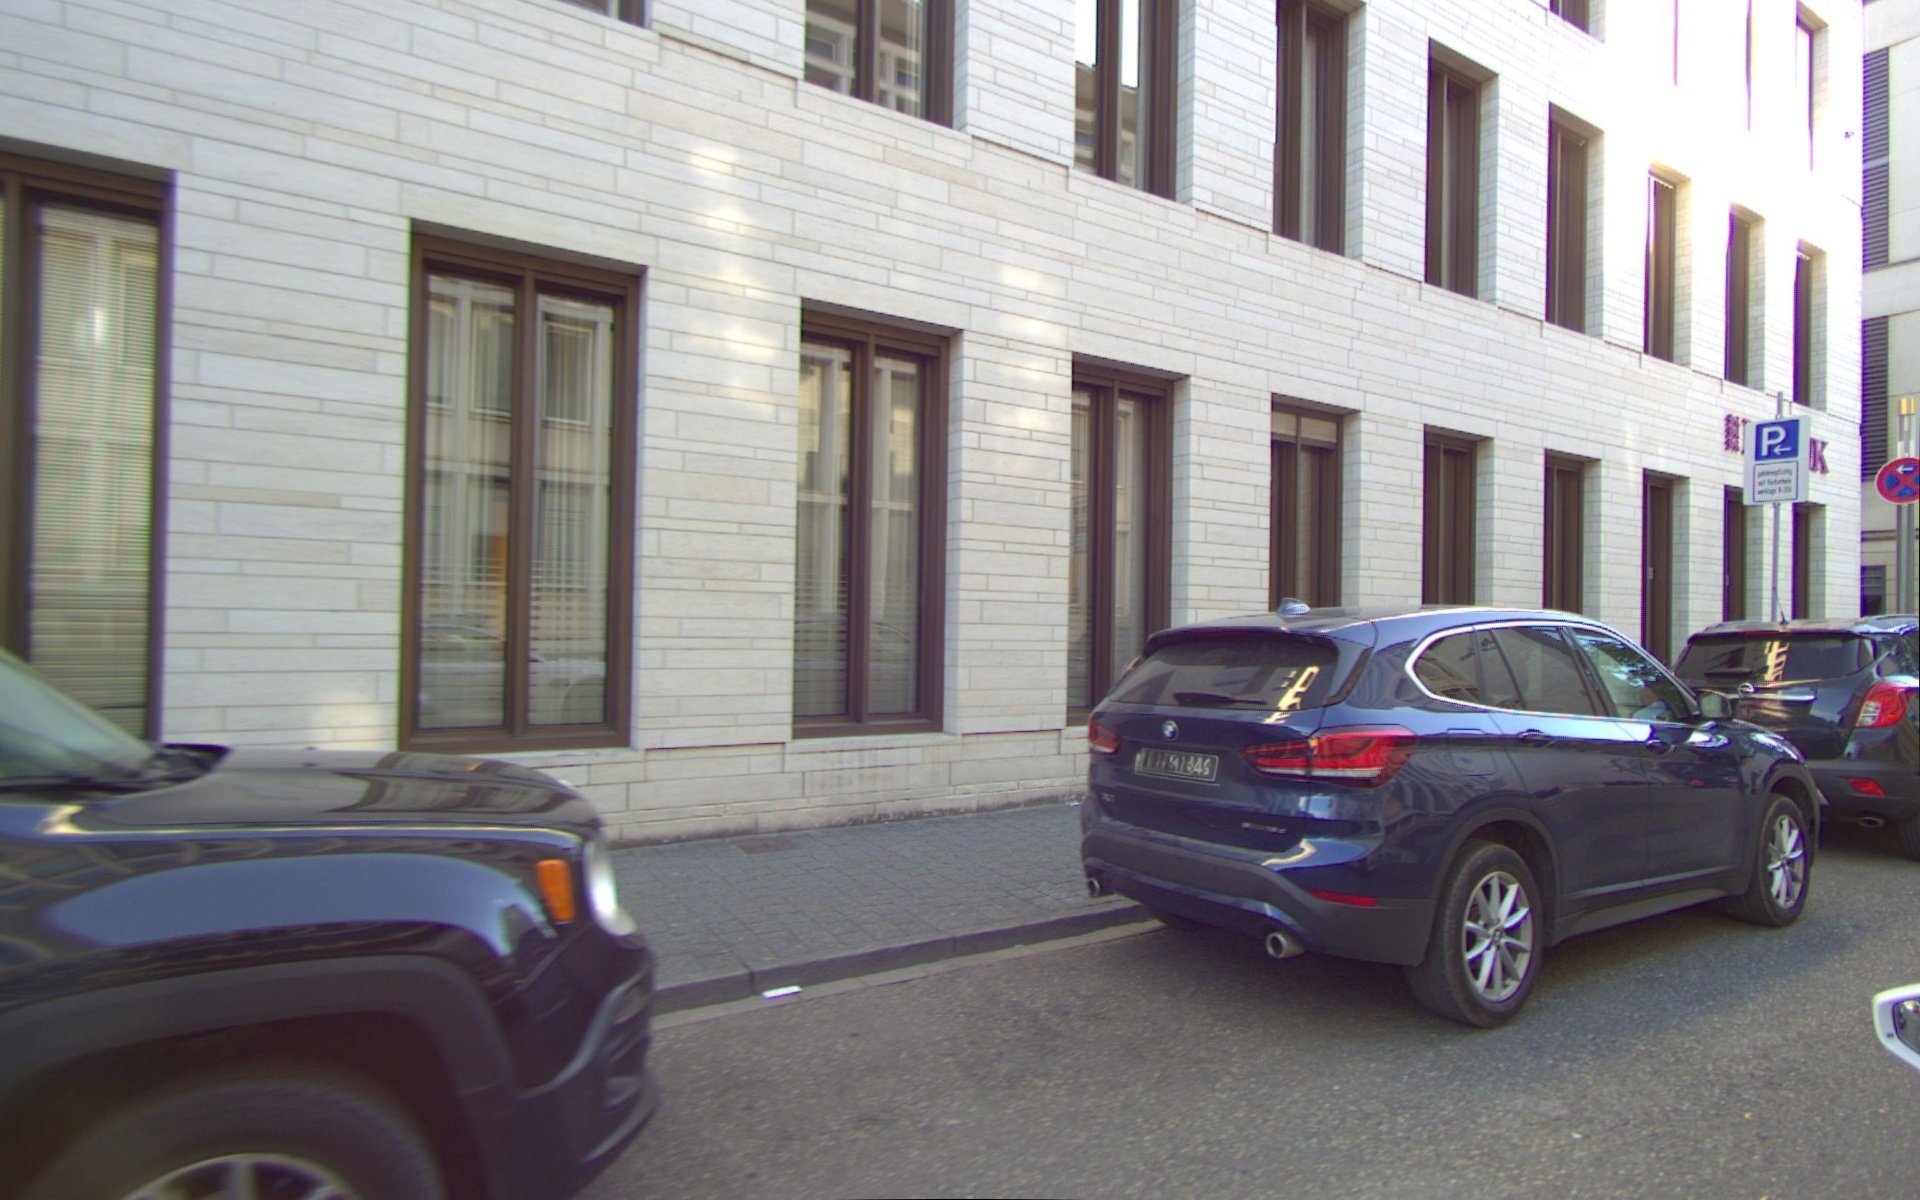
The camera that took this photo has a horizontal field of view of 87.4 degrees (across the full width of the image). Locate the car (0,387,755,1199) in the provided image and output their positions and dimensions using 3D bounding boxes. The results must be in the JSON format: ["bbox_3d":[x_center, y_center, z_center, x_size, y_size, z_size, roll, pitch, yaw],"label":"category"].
[{"bbox_3d":[-2.578,0.573,1.813,3.974,1.737,1.813,1,-3,-33],"label":"car"}]

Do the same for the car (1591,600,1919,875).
[{"bbox_3d":[7.187,0.935,8.108,4.214,1.699,1.814,1,-3,-31],"label":"car"}]

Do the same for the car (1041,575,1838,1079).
[{"bbox_3d":[2.568,0.810,5.098,4.108,1.615,1.730,1,-3,-33],"label":"car"}]
